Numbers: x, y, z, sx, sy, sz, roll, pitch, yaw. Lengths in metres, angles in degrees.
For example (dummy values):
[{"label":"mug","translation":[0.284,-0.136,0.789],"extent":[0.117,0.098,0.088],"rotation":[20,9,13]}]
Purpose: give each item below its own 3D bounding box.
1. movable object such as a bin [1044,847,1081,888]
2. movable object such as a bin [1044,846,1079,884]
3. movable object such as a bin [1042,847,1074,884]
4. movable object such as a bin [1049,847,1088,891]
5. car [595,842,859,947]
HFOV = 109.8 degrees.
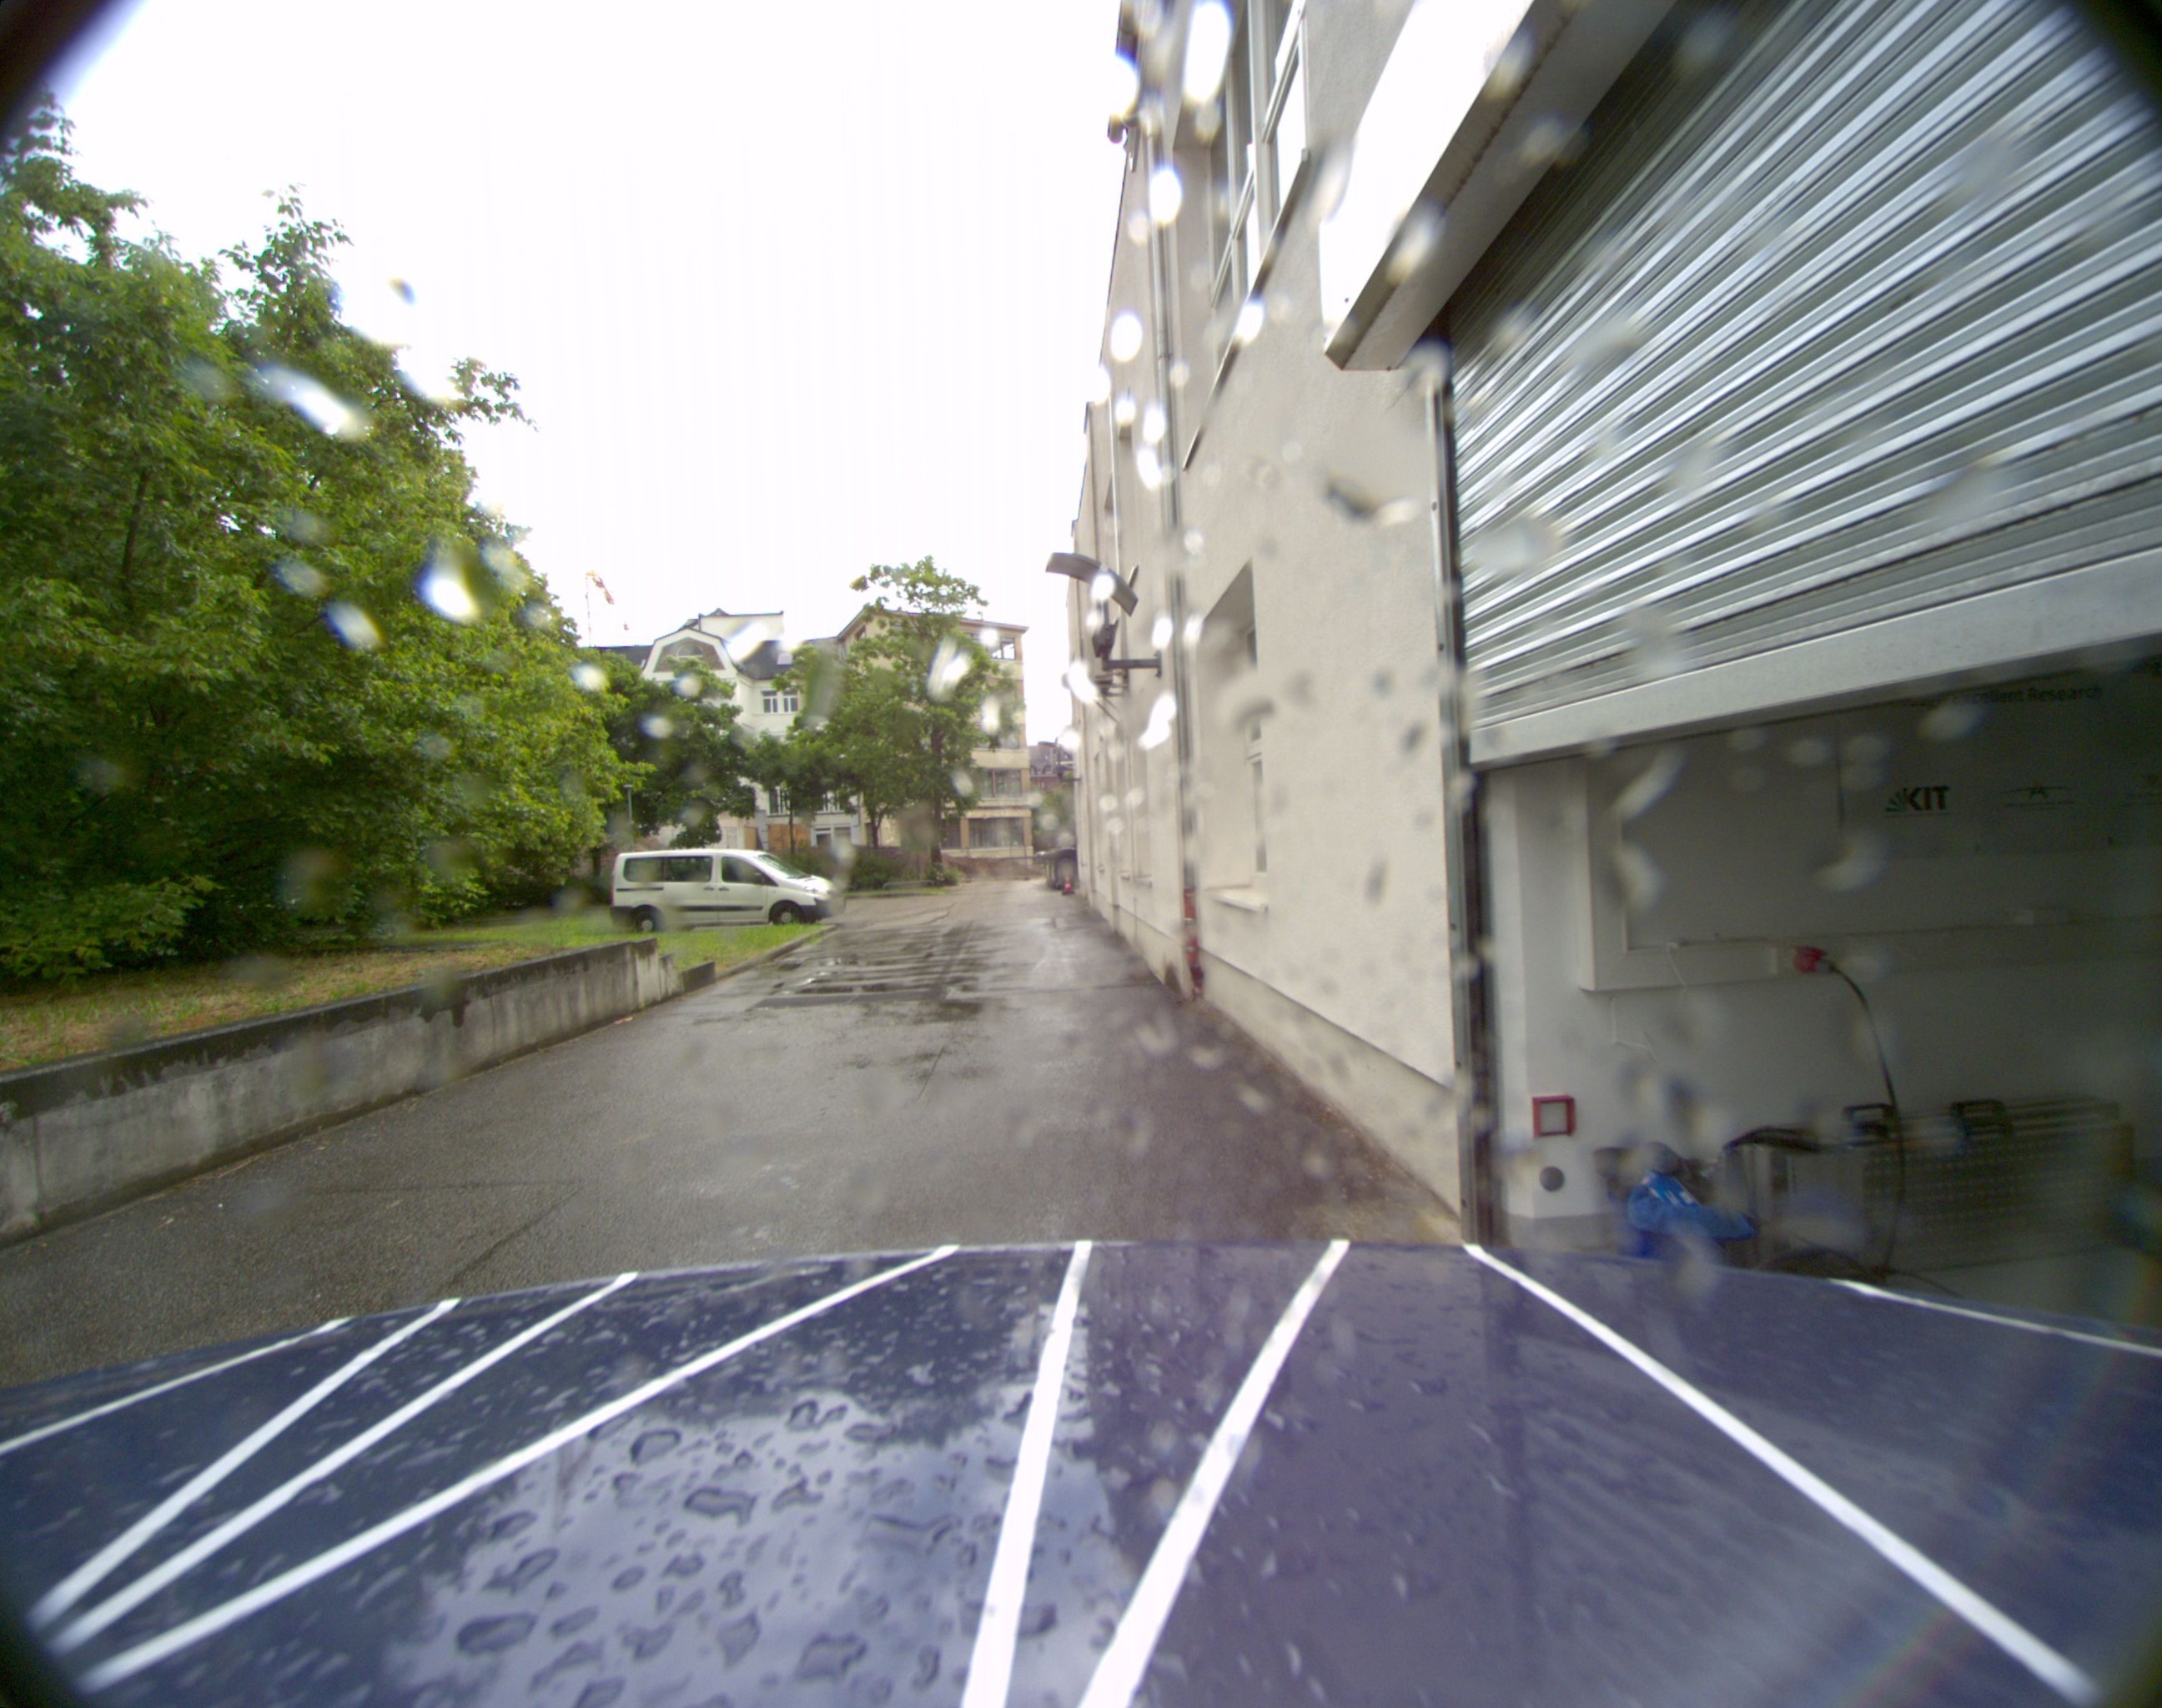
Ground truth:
[{"label":"movable object such as a bin","translation":[-0.710,0.480,28.690],"extent":[1.168,1.475,1.495],"rotation":[-2,1,-9]},{"label":"movable object such as a bin","translation":[-0.808,0.474,31.590],"extent":[1.168,1.474,1.402],"rotation":[-3,-1,-10]},{"label":"movable object such as a bin","translation":[-0.971,0.492,33.130],"extent":[1.103,1.465,1.486],"rotation":[-4,1,6]},{"label":"movable object such as a bin","translation":[-0.459,0.512,26.974],"extent":[1.168,1.475,1.593],"rotation":[-2,1,-9]},{"label":"car","translation":[-7.884,0.855,17.339],"extent":[4.886,1.915,2.098],"rotation":[-4,2,-2]}]
